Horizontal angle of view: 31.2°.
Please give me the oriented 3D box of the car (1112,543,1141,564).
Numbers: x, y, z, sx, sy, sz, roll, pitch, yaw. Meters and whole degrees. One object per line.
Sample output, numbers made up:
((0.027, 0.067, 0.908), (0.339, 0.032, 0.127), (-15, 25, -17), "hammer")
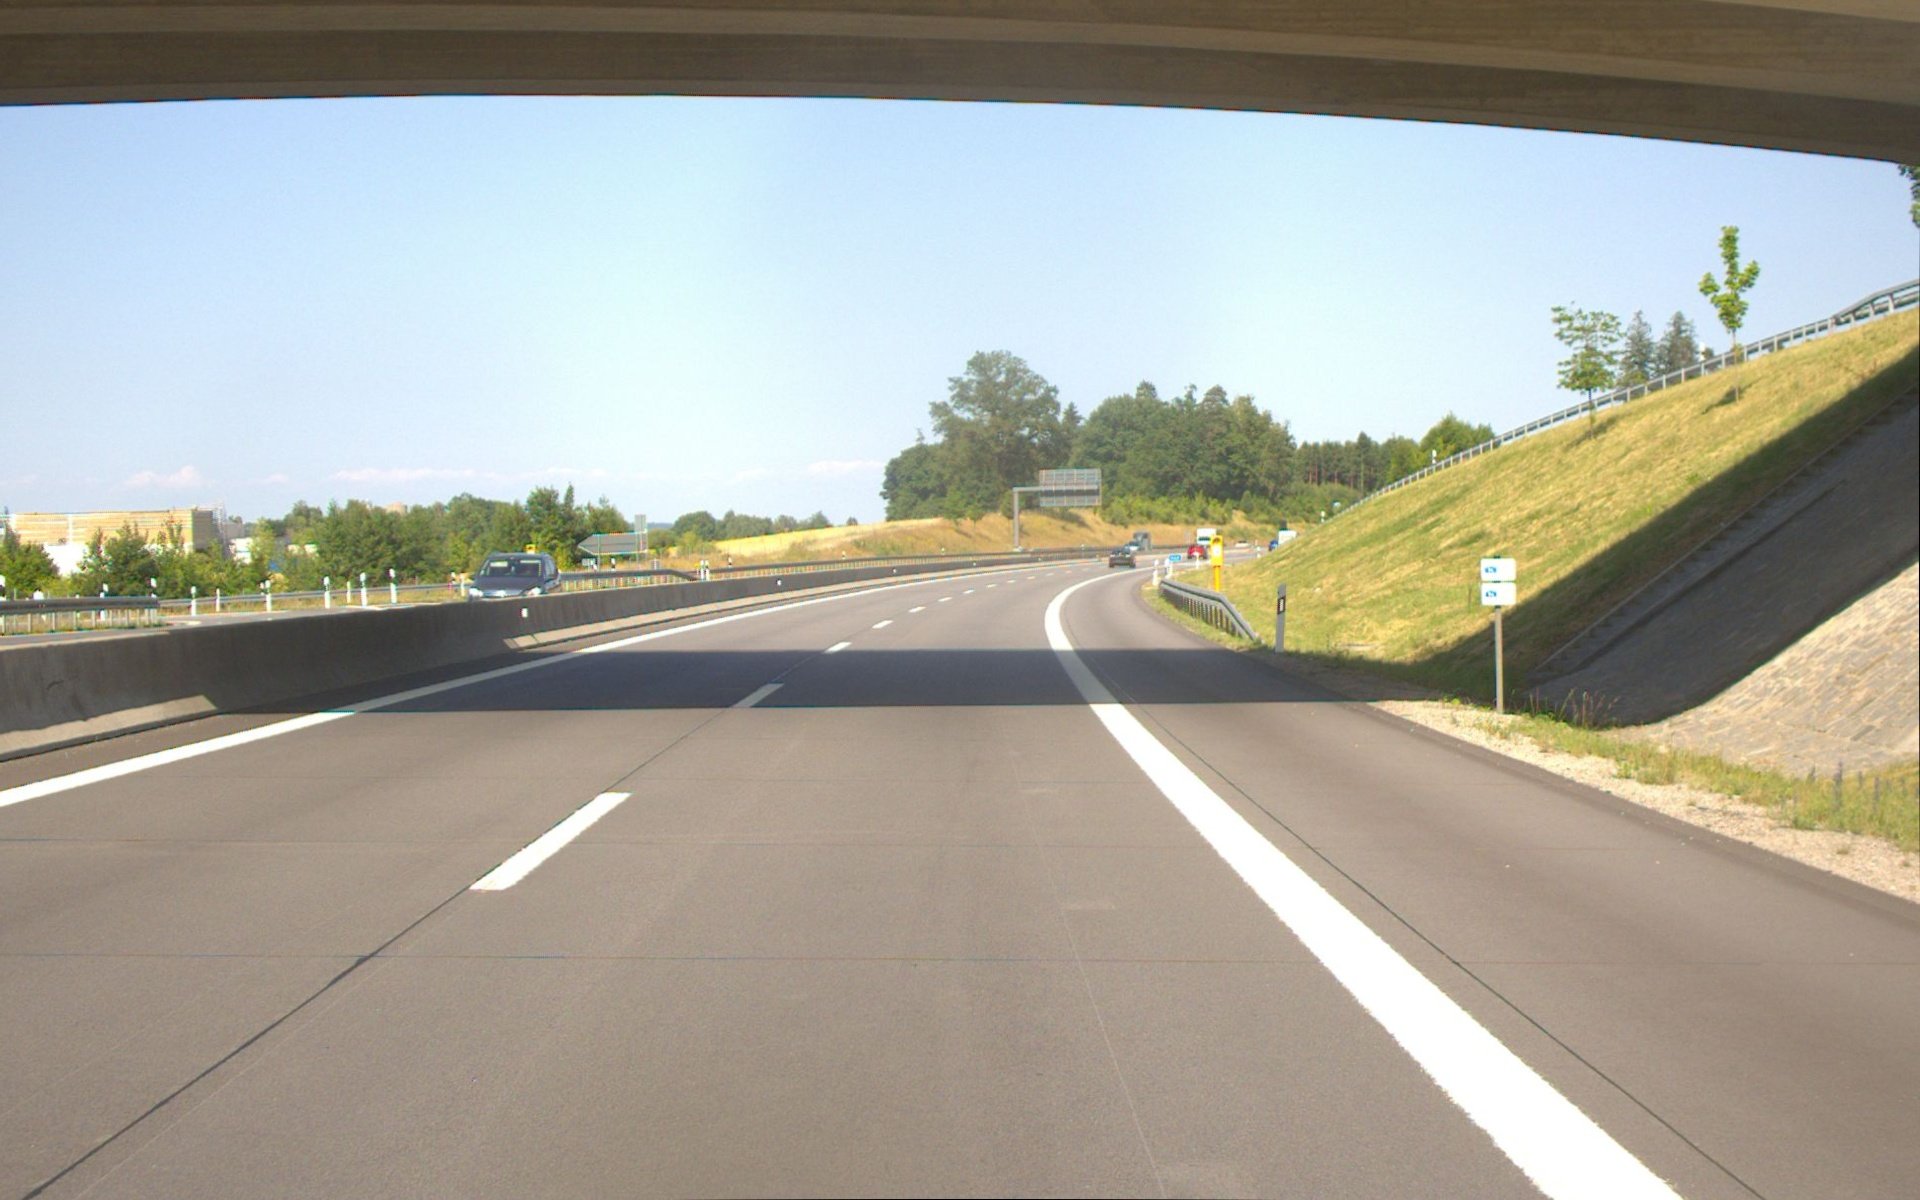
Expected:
((11.960, -3.340, 247.096), (1.993, 1.415, 4.000), (-2, 1, 1), "car")

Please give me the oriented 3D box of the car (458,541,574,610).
((-10.390, -0.609, 80.793), (2.069, 1.569, 4.927), (0, 1, 0), "car")
